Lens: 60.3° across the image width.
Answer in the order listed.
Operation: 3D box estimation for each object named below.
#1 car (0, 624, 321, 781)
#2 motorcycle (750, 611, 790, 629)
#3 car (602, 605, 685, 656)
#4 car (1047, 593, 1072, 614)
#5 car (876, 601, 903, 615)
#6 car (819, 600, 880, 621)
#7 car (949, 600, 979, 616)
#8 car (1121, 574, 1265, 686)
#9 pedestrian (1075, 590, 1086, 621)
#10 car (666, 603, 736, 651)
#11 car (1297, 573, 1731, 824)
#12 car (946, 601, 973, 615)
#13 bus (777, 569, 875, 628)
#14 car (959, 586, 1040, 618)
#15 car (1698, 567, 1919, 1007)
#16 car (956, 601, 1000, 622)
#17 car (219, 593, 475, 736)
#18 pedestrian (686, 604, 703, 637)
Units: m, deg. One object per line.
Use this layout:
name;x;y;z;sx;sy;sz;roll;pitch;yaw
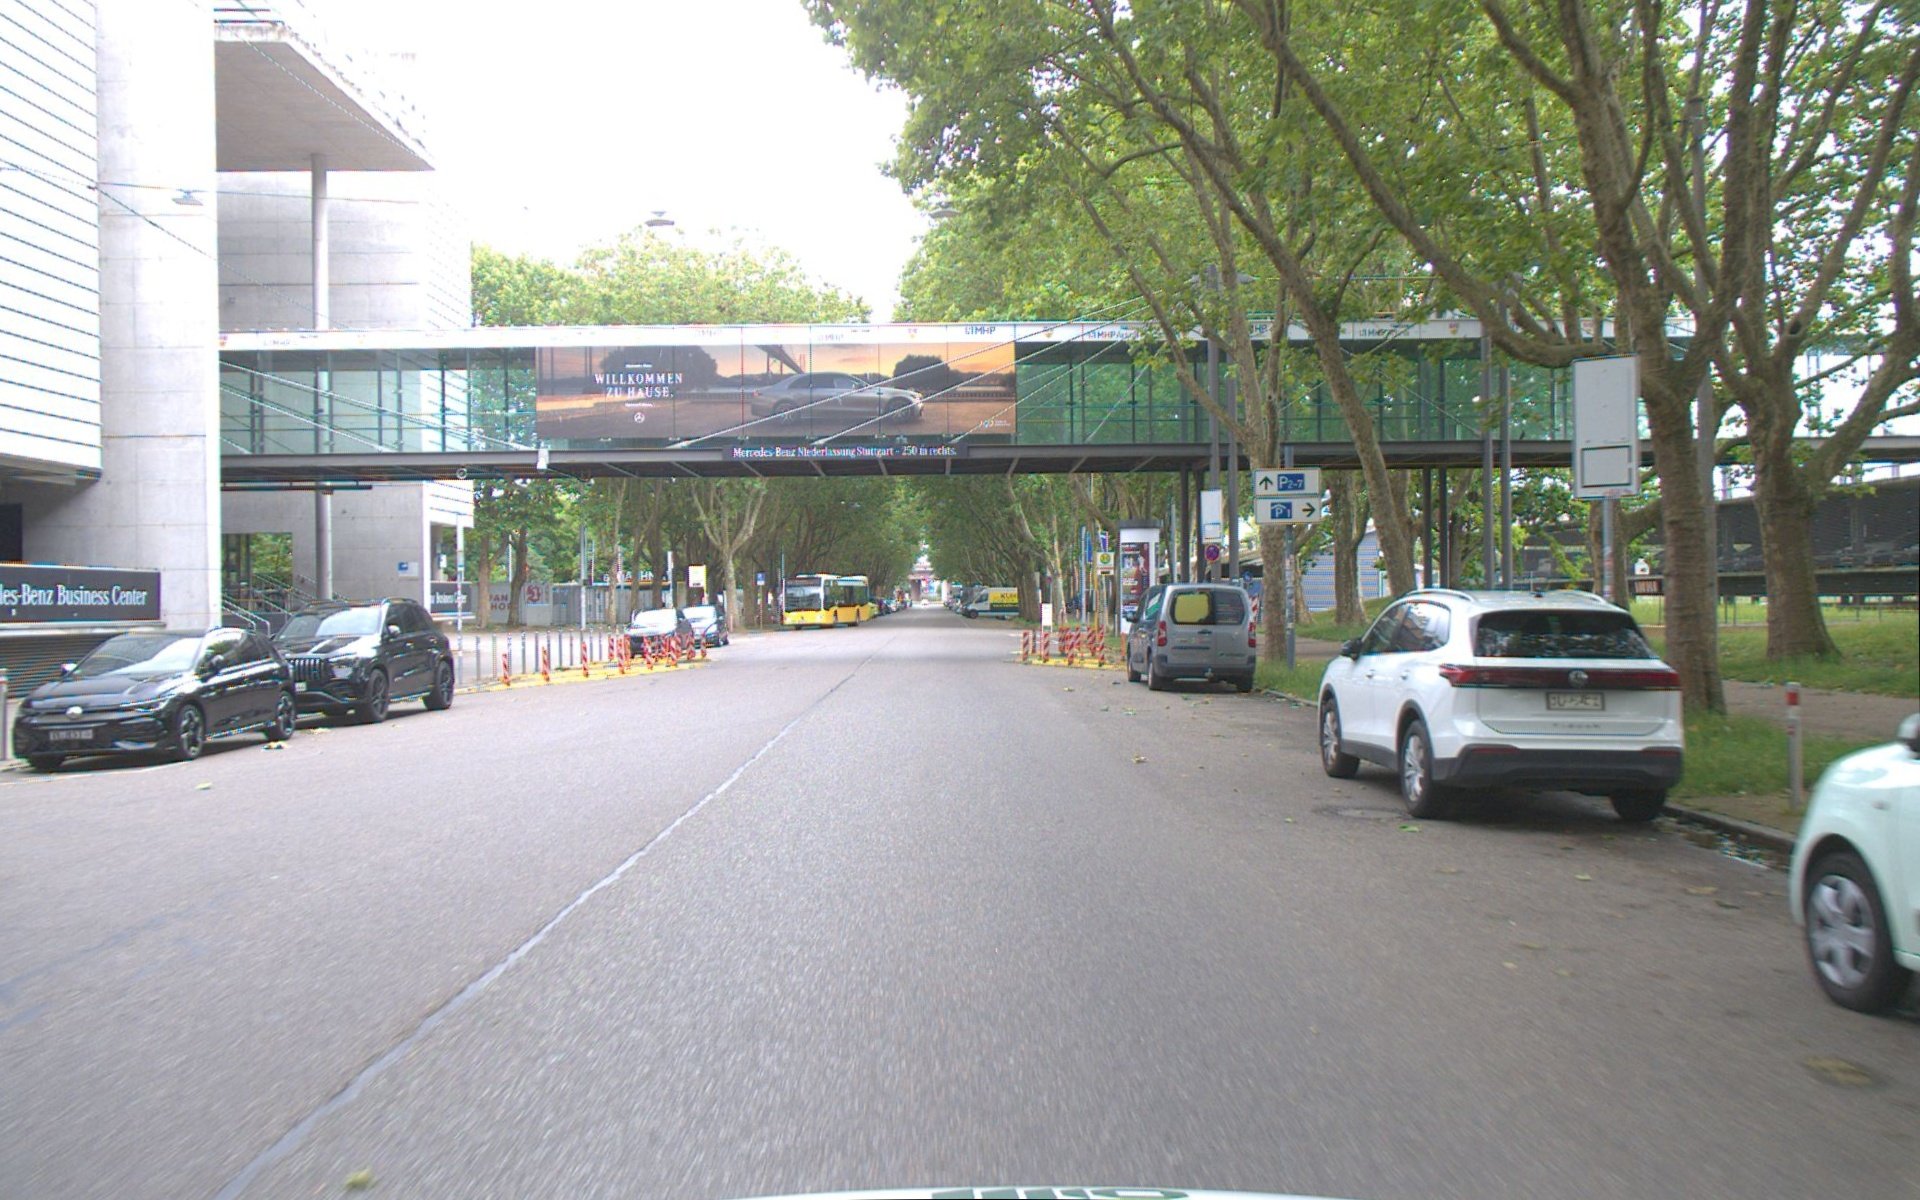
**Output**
car;-9.226;1.105;19.488;1.670;1.444;4.324;-3;0;-1
motorcycle;-12.765;1.347;111.072;2.559;1.143;0.698;-1;0;-25
car;-10.304;0.964;54.143;1.820;1.478;4.448;-4;0;-1
car;8.866;0.308;148.021;1.953;1.803;3.999;-1;0;-1
car;-10.327;1.247;243.572;3.905;2.004;2.000;-1;0;-1
car;-8.645;0.827;129.597;4.604;1.612;1.864;-1;0;0
car;0.458;0.907;192.993;3.548;1.825;1.542;-1;0;-2
car;4.085;0.498;29.822;1.810;1.814;5.210;0;0;-1
pedestrian;7.721;0.354;106.038;0.562;1.921;0.615;-1;0;-10
car;-9.788;1.008;62.802;1.953;1.612;4.112;-4;0;-1
car;4.182;0.663;13.414;1.875;1.646;4.748;-1;0;-1
car;-0.081;1.162;243.542;3.905;1.894;1.637;-1;0;-1
bus;-7.890;-0.118;99.768;2.974;3.215;12.687;-3;0;8
car;3.340;0.146;139.805;6.687;2.557;2.315;-1;0;-3
car;4.265;0.647;5.481;1.771;1.553;4.095;-1;0;-1
car;1.595;0.994;147.219;3.906;1.825;1.542;-1;0;-2
car;-9.137;0.881;25.179;1.993;1.820;4.907;-4;0;-1
pedestrian;-13.051;1.010;81.274;0.659;1.631;0.606;0;-1;-26
